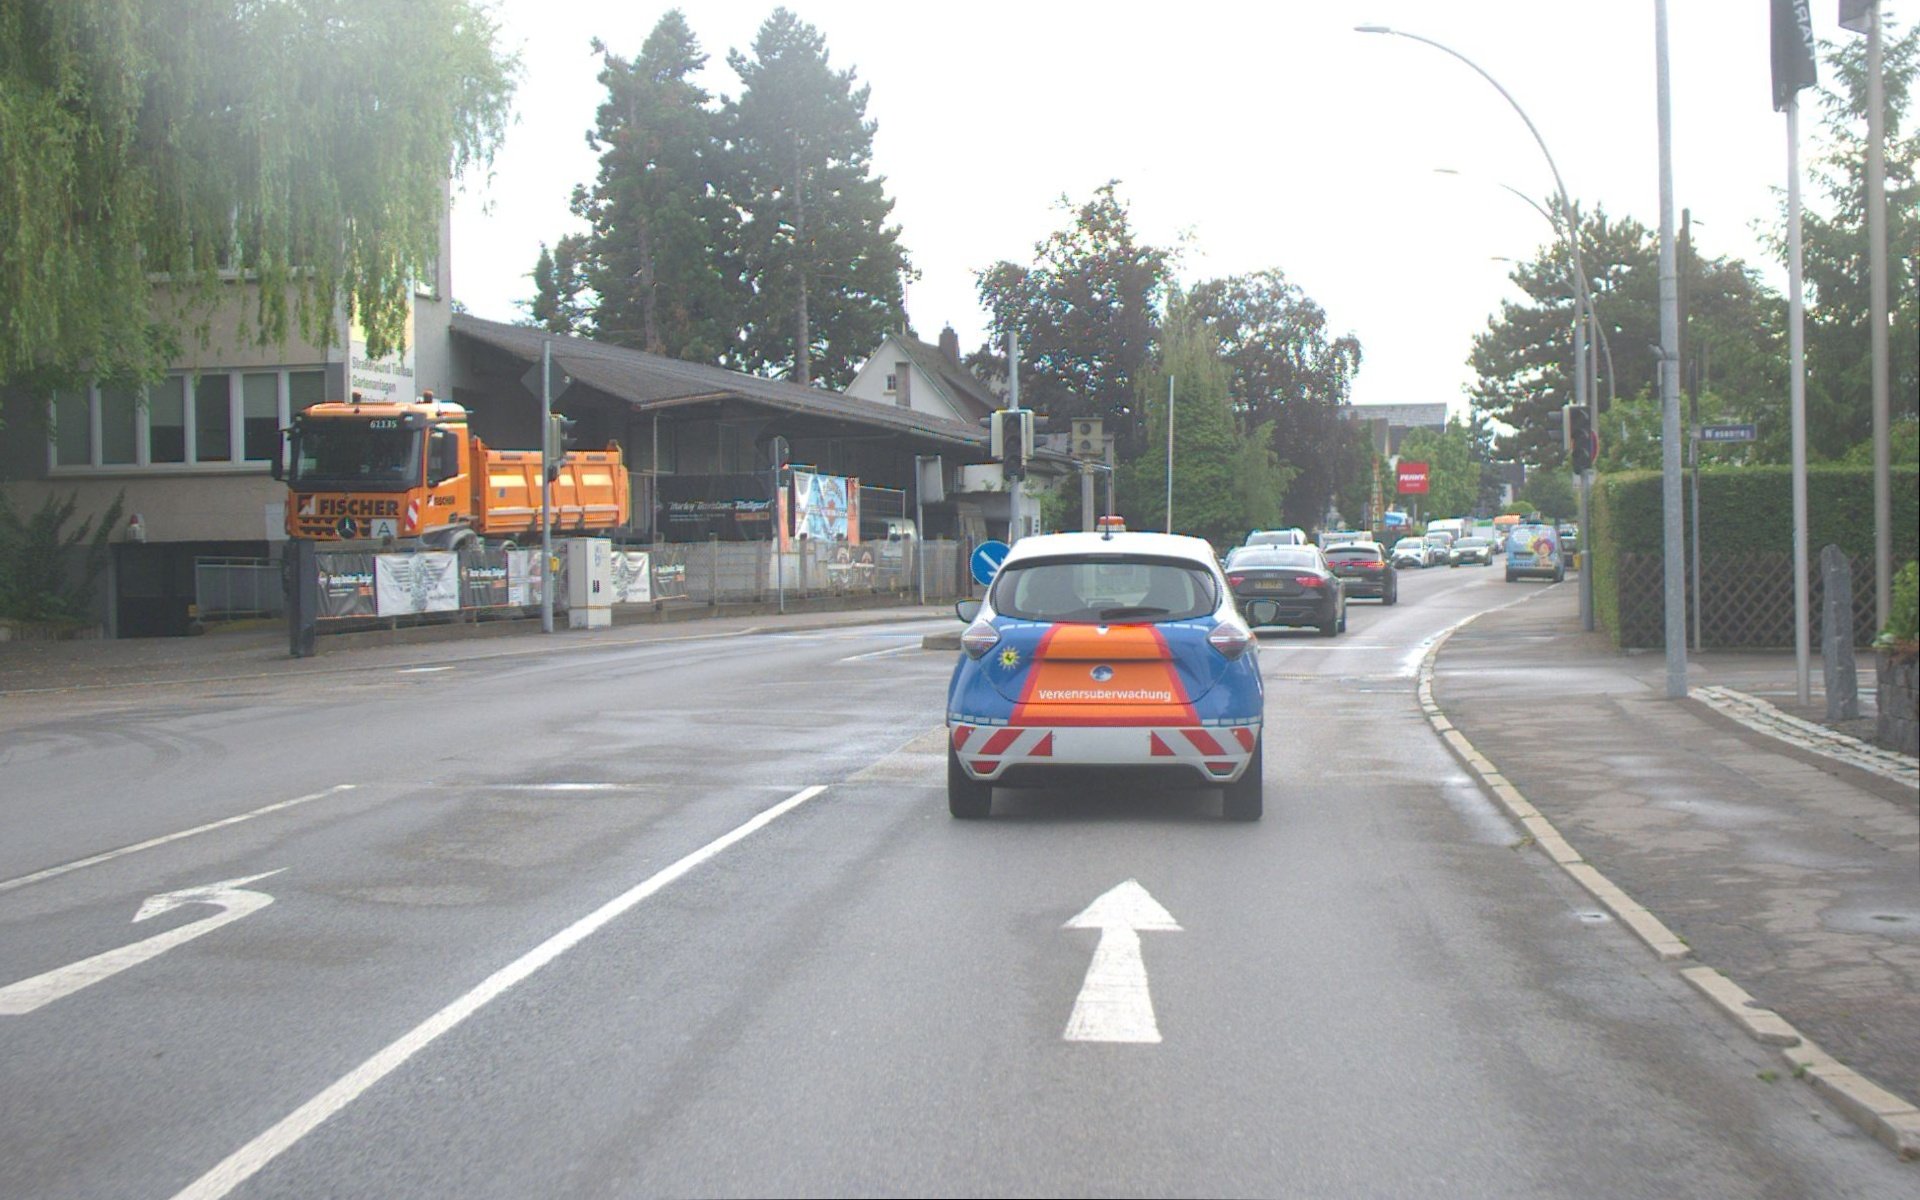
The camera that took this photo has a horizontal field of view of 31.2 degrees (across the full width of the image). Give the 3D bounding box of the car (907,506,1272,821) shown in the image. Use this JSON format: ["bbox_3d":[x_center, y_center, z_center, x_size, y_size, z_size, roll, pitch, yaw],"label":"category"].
[{"bbox_3d":[0.798,0.293,19.920,1.889,1.626,4.000,-1,1,4],"label":"car"}]

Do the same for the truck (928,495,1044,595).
[{"bbox_3d":[0.855,-1.676,107.457,2.396,2.917,5.954,2,0,12],"label":"truck"}]

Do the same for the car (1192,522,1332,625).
[{"bbox_3d":[4.467,-0.364,51.309,1.720,1.371,3.933,2,-1,0],"label":"car"}]

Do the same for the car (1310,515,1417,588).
[{"bbox_3d":[9.089,-1.079,77.209,1.995,1.415,3.997,2,-1,12],"label":"car"}]

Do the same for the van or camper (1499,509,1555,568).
[{"bbox_3d":[18.525,-2.002,112.293,1.755,1.876,3.999,0,1,10],"label":"van or camper"}]

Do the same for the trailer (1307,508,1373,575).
[{"bbox_3d":[15.746,-2.426,142.117,2.221,2.006,4.437,-8,6,10],"label":"trailer"}]

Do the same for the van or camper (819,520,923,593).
[{"bbox_3d":[-2.438,-1.183,95.268,1.994,1.902,4.470,2,1,9],"label":"van or camper"}]

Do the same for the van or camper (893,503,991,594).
[{"bbox_3d":[-0.509,-1.492,101.899,1.860,2.429,5.231,3,-1,10],"label":"van or camper"}]

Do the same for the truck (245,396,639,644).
[{"bbox_3d":[-7.924,-1.116,54.168,2.699,3.400,9.065,2,-1,14],"label":"truck"}]
